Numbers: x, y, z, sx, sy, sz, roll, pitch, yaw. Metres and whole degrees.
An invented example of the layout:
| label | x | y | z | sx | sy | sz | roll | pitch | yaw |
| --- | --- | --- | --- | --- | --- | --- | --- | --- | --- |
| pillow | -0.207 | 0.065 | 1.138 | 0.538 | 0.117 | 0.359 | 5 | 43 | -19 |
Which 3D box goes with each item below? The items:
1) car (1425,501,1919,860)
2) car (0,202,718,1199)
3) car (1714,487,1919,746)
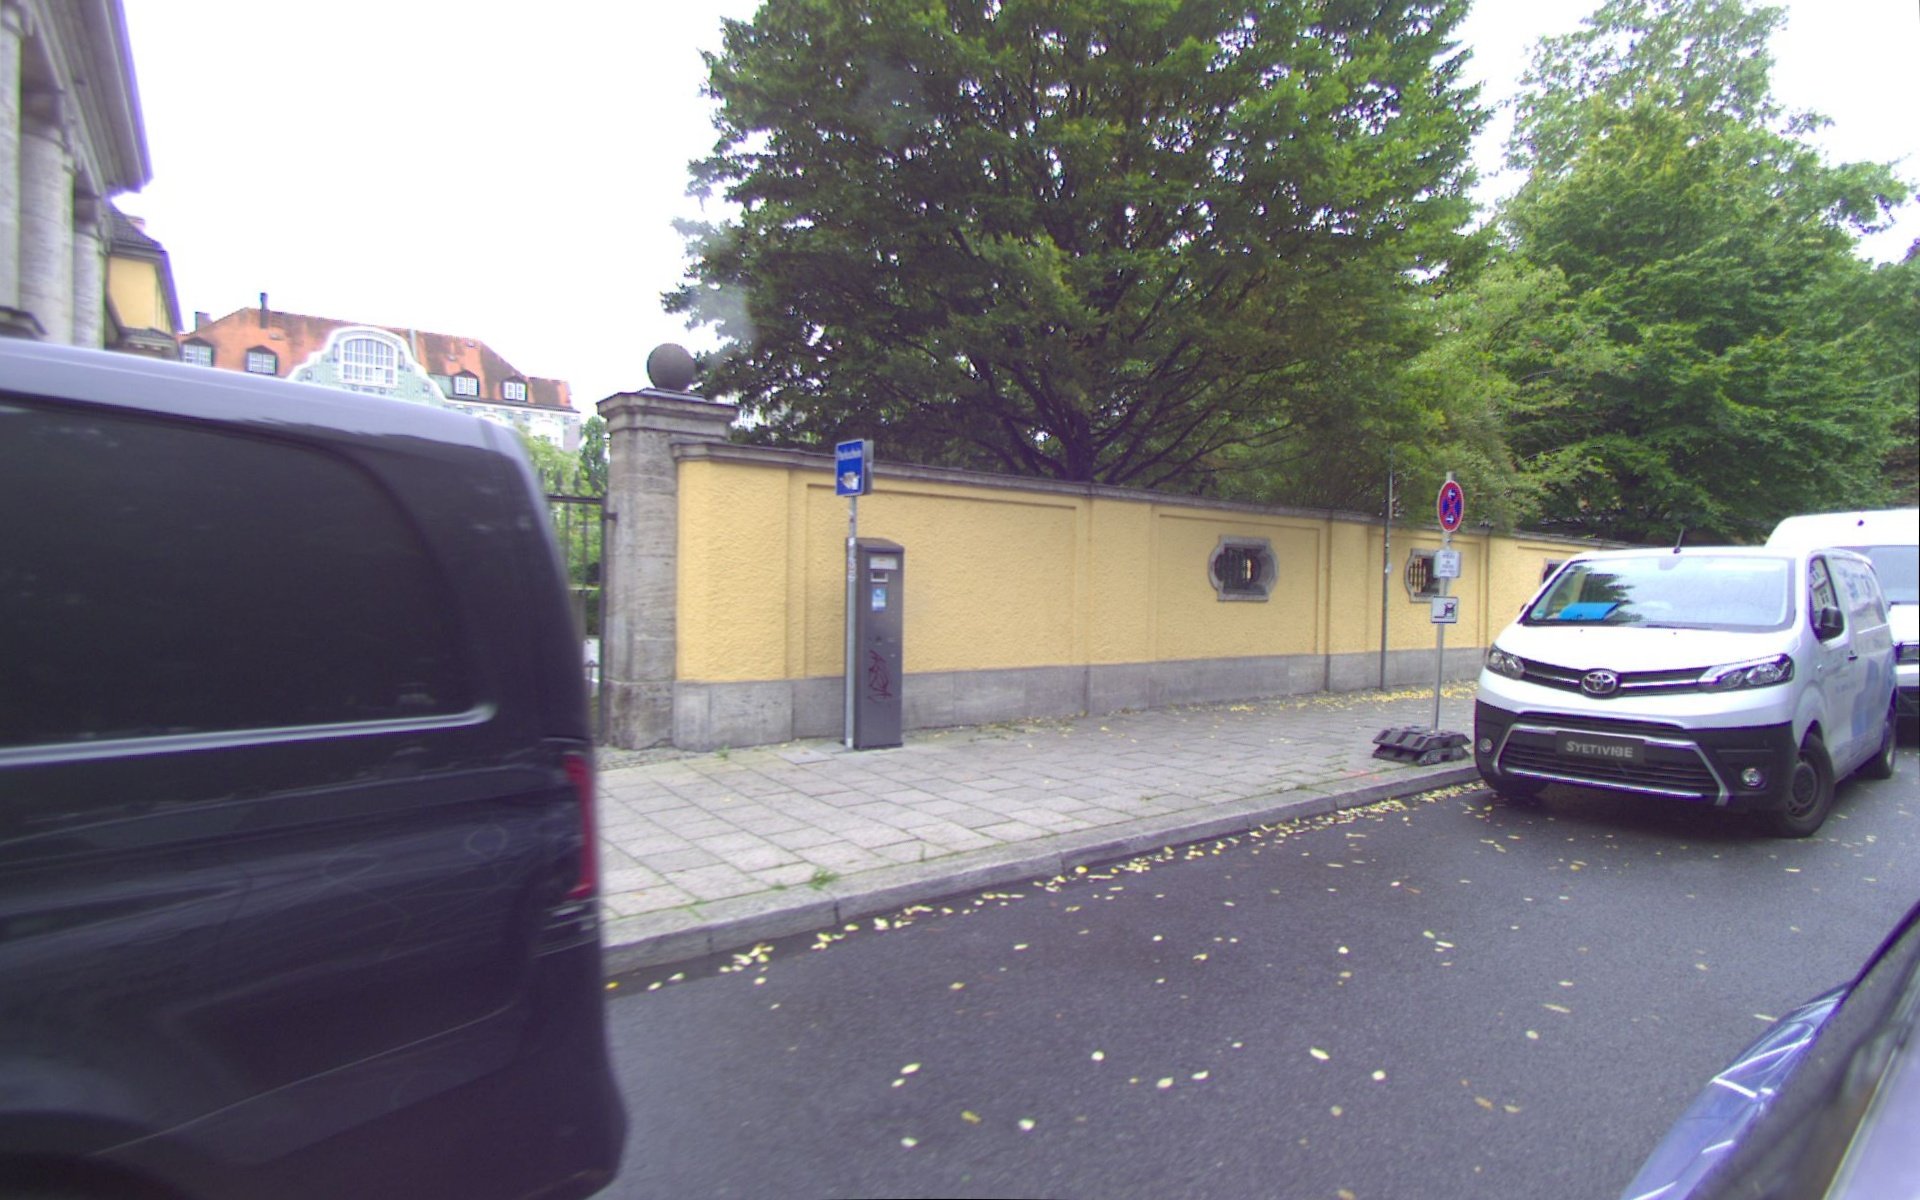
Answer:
| label | x | y | z | sx | sy | sz | roll | pitch | yaw |
| --- | --- | --- | --- | --- | --- | --- | --- | --- | --- |
| car | 5.785 | 0.418 | 7.882 | 5.073 | 1.931 | 2.017 | 0 | 0 | -41 |
| car | -2.937 | 0.440 | 1.087 | 4.897 | 1.892 | 1.875 | -1 | 2 | -39 |
| car | 11.149 | 0.090 | 12.067 | 5.636 | 2.518 | 2.100 | -1 | 2 | -39 |
